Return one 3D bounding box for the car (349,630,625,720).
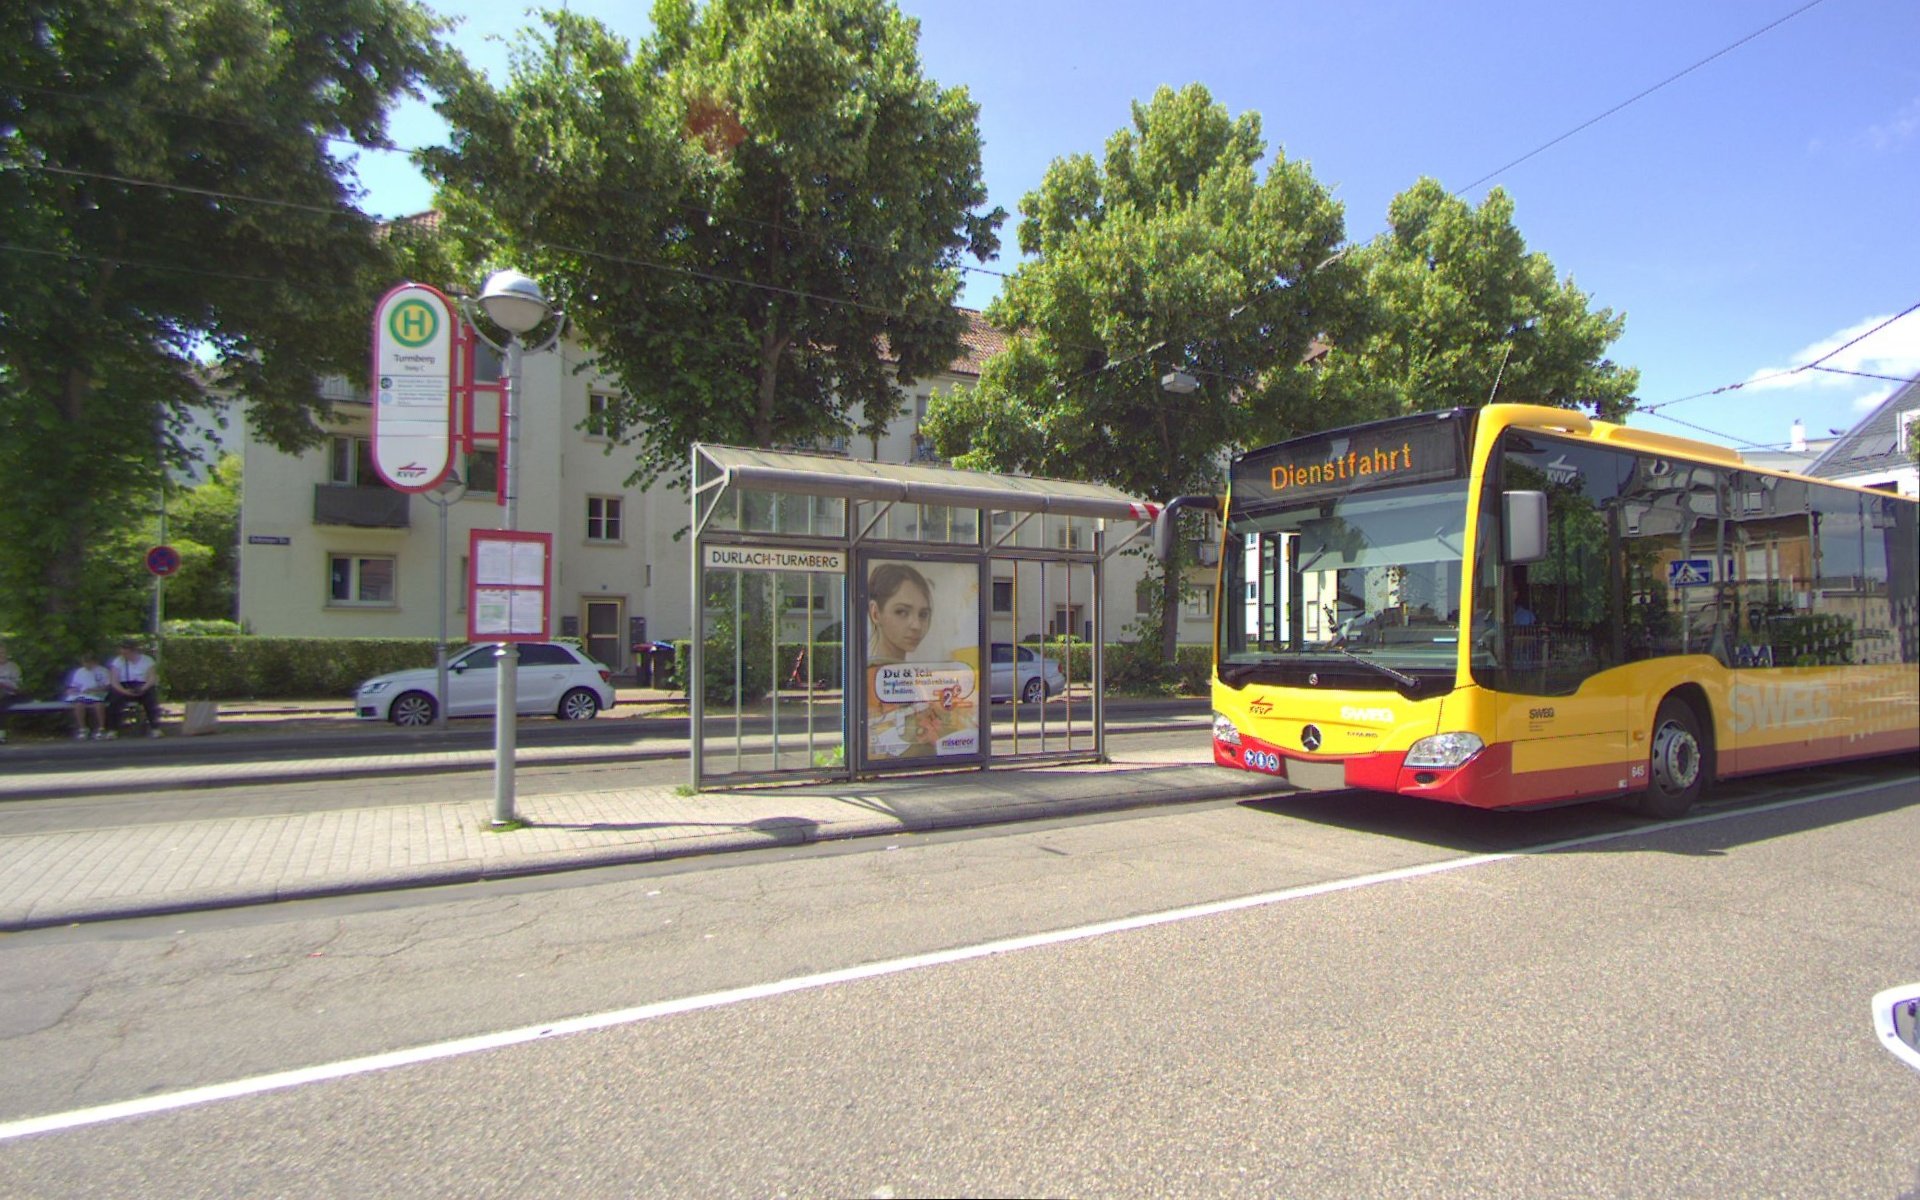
[{"bbox_3d":[-7.780,1.242,16.693,3.953,1.290,1.561,3,-1,-30],"label":"car"}]

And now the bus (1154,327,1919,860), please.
[{"bbox_3d":[7.595,0.145,10.515,11.978,3.291,2.893,2,0,-31],"label":"bus"}]

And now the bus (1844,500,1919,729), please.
[{"bbox_3d":[19.515,0.296,15.744,12.112,3.251,2.777,1,0,-19],"label":"bus"}]

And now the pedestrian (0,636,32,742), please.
[{"bbox_3d":[-12.075,1.097,12.529,0.533,1.267,0.612,3,-1,-27],"label":"pedestrian"}]

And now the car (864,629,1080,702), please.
[{"bbox_3d":[0.302,1.419,21.525,4.350,1.375,1.686,3,-1,-30],"label":"car"}]

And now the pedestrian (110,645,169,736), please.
[{"bbox_3d":[-10.832,1.189,13.269,0.451,1.153,0.508,3,-1,-27],"label":"pedestrian"}]

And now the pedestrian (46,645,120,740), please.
[{"bbox_3d":[-11.316,1.185,12.980,0.533,1.153,0.612,3,-1,-27],"label":"pedestrian"}]

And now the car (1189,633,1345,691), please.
[{"bbox_3d":[7.989,1.611,26.030,3.958,1.336,1.704,3,-1,-34],"label":"car"}]
